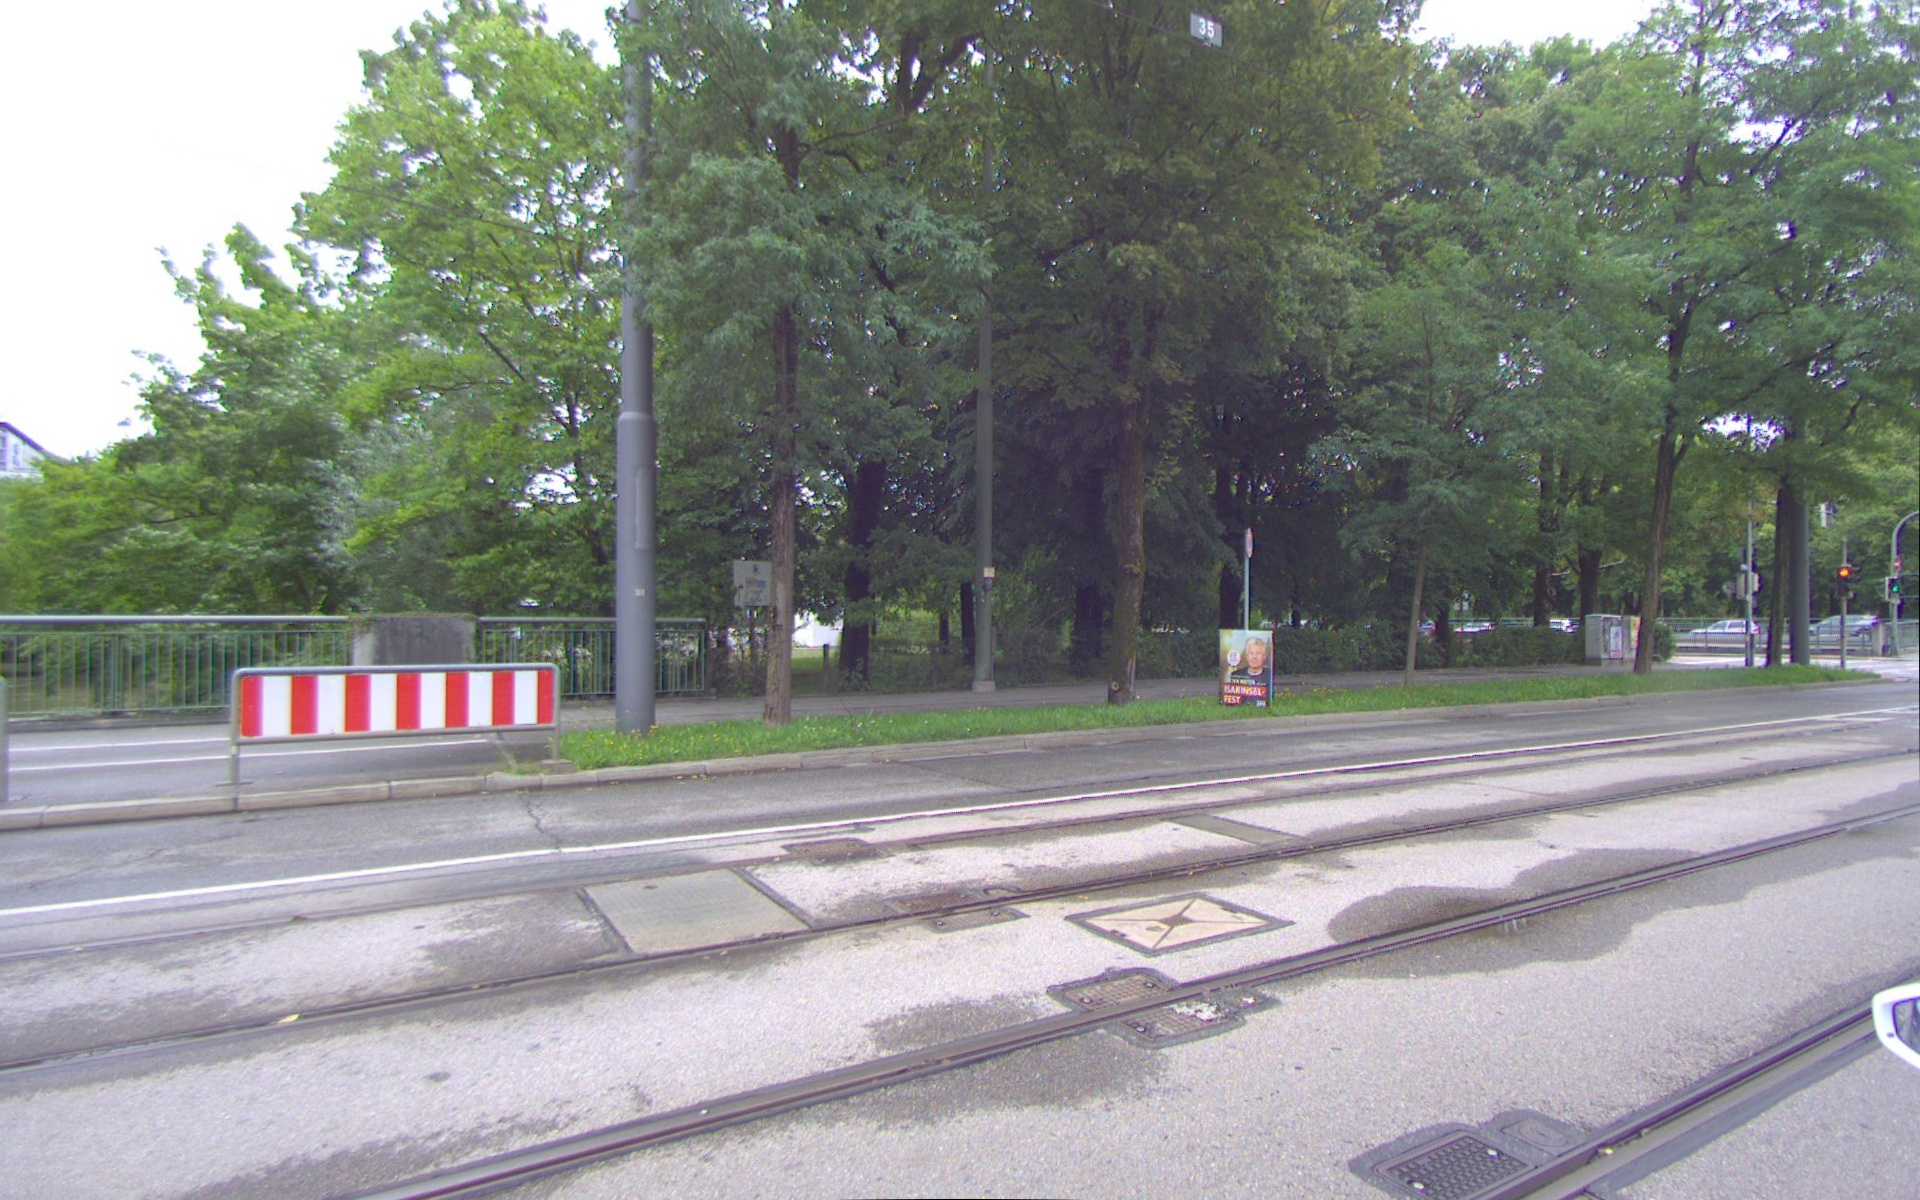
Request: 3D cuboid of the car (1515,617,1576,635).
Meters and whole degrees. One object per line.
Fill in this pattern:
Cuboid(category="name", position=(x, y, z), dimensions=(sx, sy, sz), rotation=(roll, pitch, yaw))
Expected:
Cuboid(category="car", position=(42.497, 1.868, 72.970), dimensions=(1.237, 1.201, 3.705), rotation=(1, 0, -33))

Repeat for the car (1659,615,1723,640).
Cuboid(category="car", position=(47.404, 1.752, 65.153), dimensions=(1.238, 1.471, 3.090), rotation=(1, 1, -34))

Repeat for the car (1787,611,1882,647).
Cuboid(category="car", position=(51.547, 1.673, 59.291), dimensions=(1.476, 1.912, 3.994), rotation=(1, 1, -36))

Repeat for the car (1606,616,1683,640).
Cuboid(category="car", position=(46.014, 1.849, 67.589), dimensions=(1.703, 1.423, 3.900), rotation=(1, 0, -34))
